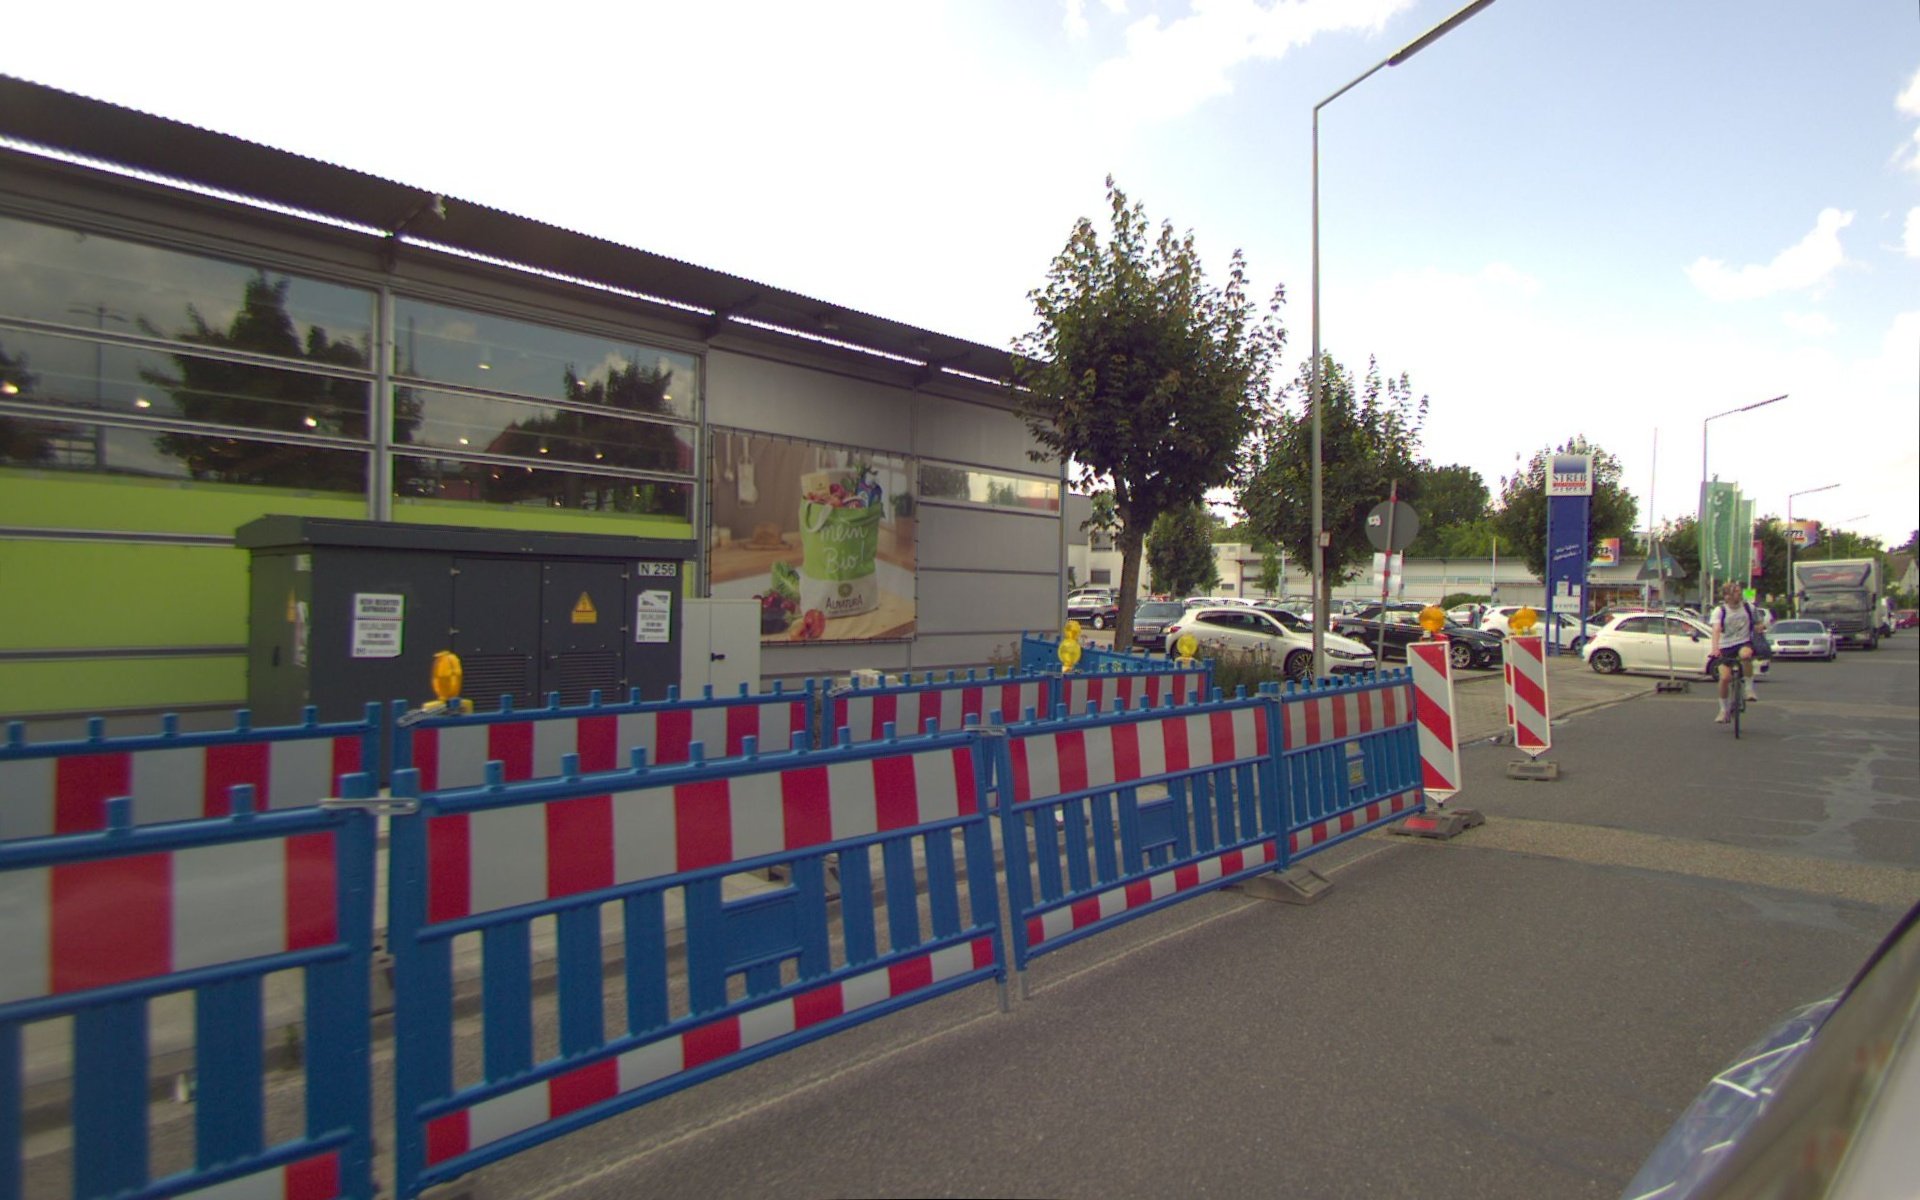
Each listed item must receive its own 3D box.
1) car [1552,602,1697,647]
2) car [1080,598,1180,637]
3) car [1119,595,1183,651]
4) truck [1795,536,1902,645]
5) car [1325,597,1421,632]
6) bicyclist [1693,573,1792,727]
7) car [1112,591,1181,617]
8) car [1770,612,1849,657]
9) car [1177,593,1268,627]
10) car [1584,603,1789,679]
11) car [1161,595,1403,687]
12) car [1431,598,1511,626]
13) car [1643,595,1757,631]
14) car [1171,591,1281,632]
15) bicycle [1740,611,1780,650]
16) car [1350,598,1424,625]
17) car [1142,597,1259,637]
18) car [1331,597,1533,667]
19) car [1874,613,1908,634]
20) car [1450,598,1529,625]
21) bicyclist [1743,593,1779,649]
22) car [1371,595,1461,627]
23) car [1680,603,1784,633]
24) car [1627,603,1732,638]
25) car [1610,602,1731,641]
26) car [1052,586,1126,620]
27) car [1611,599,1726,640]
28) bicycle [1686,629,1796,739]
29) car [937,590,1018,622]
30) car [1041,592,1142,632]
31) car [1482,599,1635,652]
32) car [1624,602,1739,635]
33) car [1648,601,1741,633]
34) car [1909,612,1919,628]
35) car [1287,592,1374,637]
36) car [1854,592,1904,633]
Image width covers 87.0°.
[{"bbox_3d":[24.933,0.884,38.075,4.308,1.462,1.817,2,0,44],"label":"car"},{"bbox_3d":[7.517,0.764,44.908,4.117,1.502,1.698,2,0,43],"label":"car"},{"bbox_3d":[5.355,0.582,28.768,1.659,1.428,4.377,0,1,9],"label":"car"},{"bbox_3d":[37.358,-0.247,42.426,2.778,4.170,8.144,-3,-3,44],"label":"truck"},{"bbox_3d":[20.220,0.704,49.654,3.981,1.502,1.714,2,0,43],"label":"car"},{"bbox_3d":[9.767,0.598,12.624,0.806,1.816,1.188,-2,-2,44],"label":"bicyclist"},{"bbox_3d":[11.971,0.242,65.134,4.030,1.502,1.698,2,0,43],"label":"car"},{"bbox_3d":[27.801,1.133,33.070,1.661,1.358,3.921,-4,-4,44],"label":"car"},{"bbox_3d":[12.922,0.486,50.009,4.009,1.502,1.698,2,0,43],"label":"car"},{"bbox_3d":[16.800,0.894,23.504,1.660,1.488,3.605,2,1,-43],"label":"car"},{"bbox_3d":[6.263,0.724,19.977,4.104,1.481,1.958,3,1,44],"label":"car"},{"bbox_3d":[30.247,0.707,59.955,3.934,1.502,1.698,2,0,43],"label":"car"},{"bbox_3d":[41.301,0.712,56.573,4.895,1.810,1.872,2,0,45],"label":"car"},{"bbox_3d":[10.922,0.470,41.675,4.058,1.502,1.698,2,0,43],"label":"car"},{"bbox_3d":[28.952,1.074,36.606,1.851,1.310,0.793,1,3,-44],"label":"bicycle"},{"bbox_3d":[26.924,0.703,63.869,3.934,1.502,1.698,2,0,43],"label":"car"},{"bbox_3d":[9.296,0.636,39.319,4.103,1.355,1.766,2,1,43],"label":"car"},{"bbox_3d":[11.688,0.743,25.263,1.776,1.448,4.185,2,1,-43],"label":"car"},{"bbox_3d":[68.778,1.746,74.756,1.694,1.475,3.493,-2,-3,44],"label":"car"},{"bbox_3d":[32.153,0.678,61.530,3.934,1.502,1.698,2,0,43],"label":"car"},{"bbox_3d":[28.972,0.748,36.600,0.815,1.933,0.796,1,3,-43],"label":"bicyclist"},{"bbox_3d":[23.908,0.555,53.137,3.934,1.502,1.698,2,0,43],"label":"car"},{"bbox_3d":[45.047,1.030,59.174,4.549,1.706,1.728,0,-1,28],"label":"car"},{"bbox_3d":[33.484,0.942,47.134,3.879,1.450,1.723,2,0,40],"label":"car"},{"bbox_3d":[31.775,0.935,45.335,4.281,1.562,1.723,2,0,40],"label":"car"},{"bbox_3d":[7.519,0.178,59.308,4.064,1.823,1.698,2,0,43],"label":"car"},{"bbox_3d":[30.170,0.812,43.159,3.879,1.541,1.723,2,0,40],"label":"car"},{"bbox_3d":[9.725,0.974,12.559,0.798,1.195,2.585,-1,-2,44],"label":"bicycle"},{"bbox_3d":[0.874,0.307,52.391,4.048,1.502,1.728,2,0,43],"label":"car"},{"bbox_3d":[5.553,0.481,43.060,4.041,1.502,1.698,2,0,43],"label":"car"},{"bbox_3d":[19.344,0.802,32.793,3.951,1.428,1.769,3,1,42],"label":"car"},{"bbox_3d":[36.292,0.918,50.976,4.483,1.455,1.829,2,0,44],"label":"car"},{"bbox_3d":[39.695,0.900,54.724,1.626,1.518,3.815,2,0,-44],"label":"car"},{"bbox_3d":[89.933,1.868,94.502,1.852,1.494,3.936,1,0,44],"label":"car"},{"bbox_3d":[13.414,0.530,36.577,1.718,1.539,3.695,0,-1,42],"label":"car"},{"bbox_3d":[57.049,0.806,62.787,2.051,2.440,5.367,-2,-3,44],"label":"car"}]
